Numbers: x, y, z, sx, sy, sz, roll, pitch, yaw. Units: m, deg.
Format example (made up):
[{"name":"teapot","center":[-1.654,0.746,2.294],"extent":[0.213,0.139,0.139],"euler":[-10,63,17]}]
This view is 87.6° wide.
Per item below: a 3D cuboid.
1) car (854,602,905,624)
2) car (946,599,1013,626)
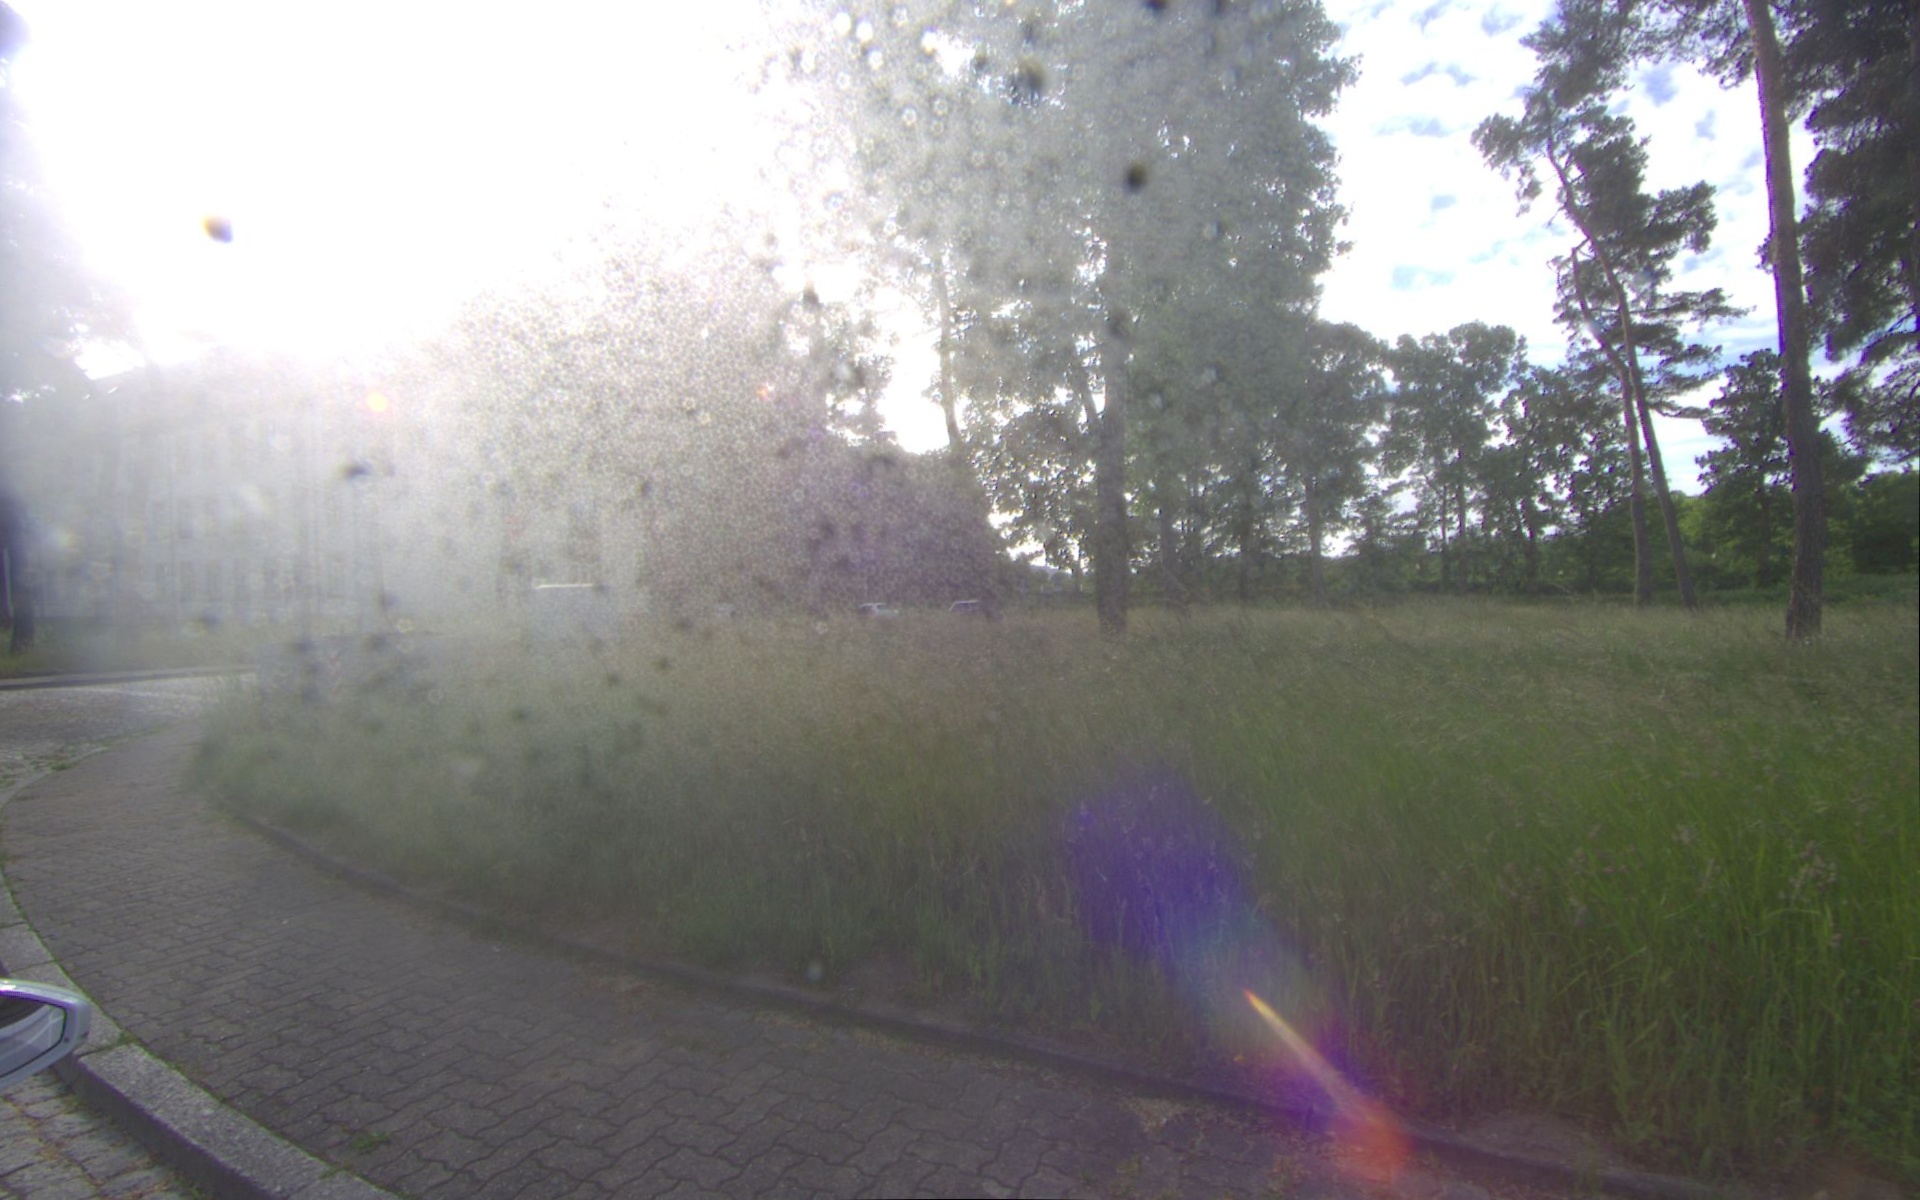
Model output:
[{"name":"car","center":[-5.430,0.915,67.799],"extent":[1.539,1.416,3.985],"euler":[-1,-2,29]},{"name":"car","center":[1.213,0.770,62.778],"extent":[3.924,1.622,1.999],"euler":[-1,1,-8]}]
